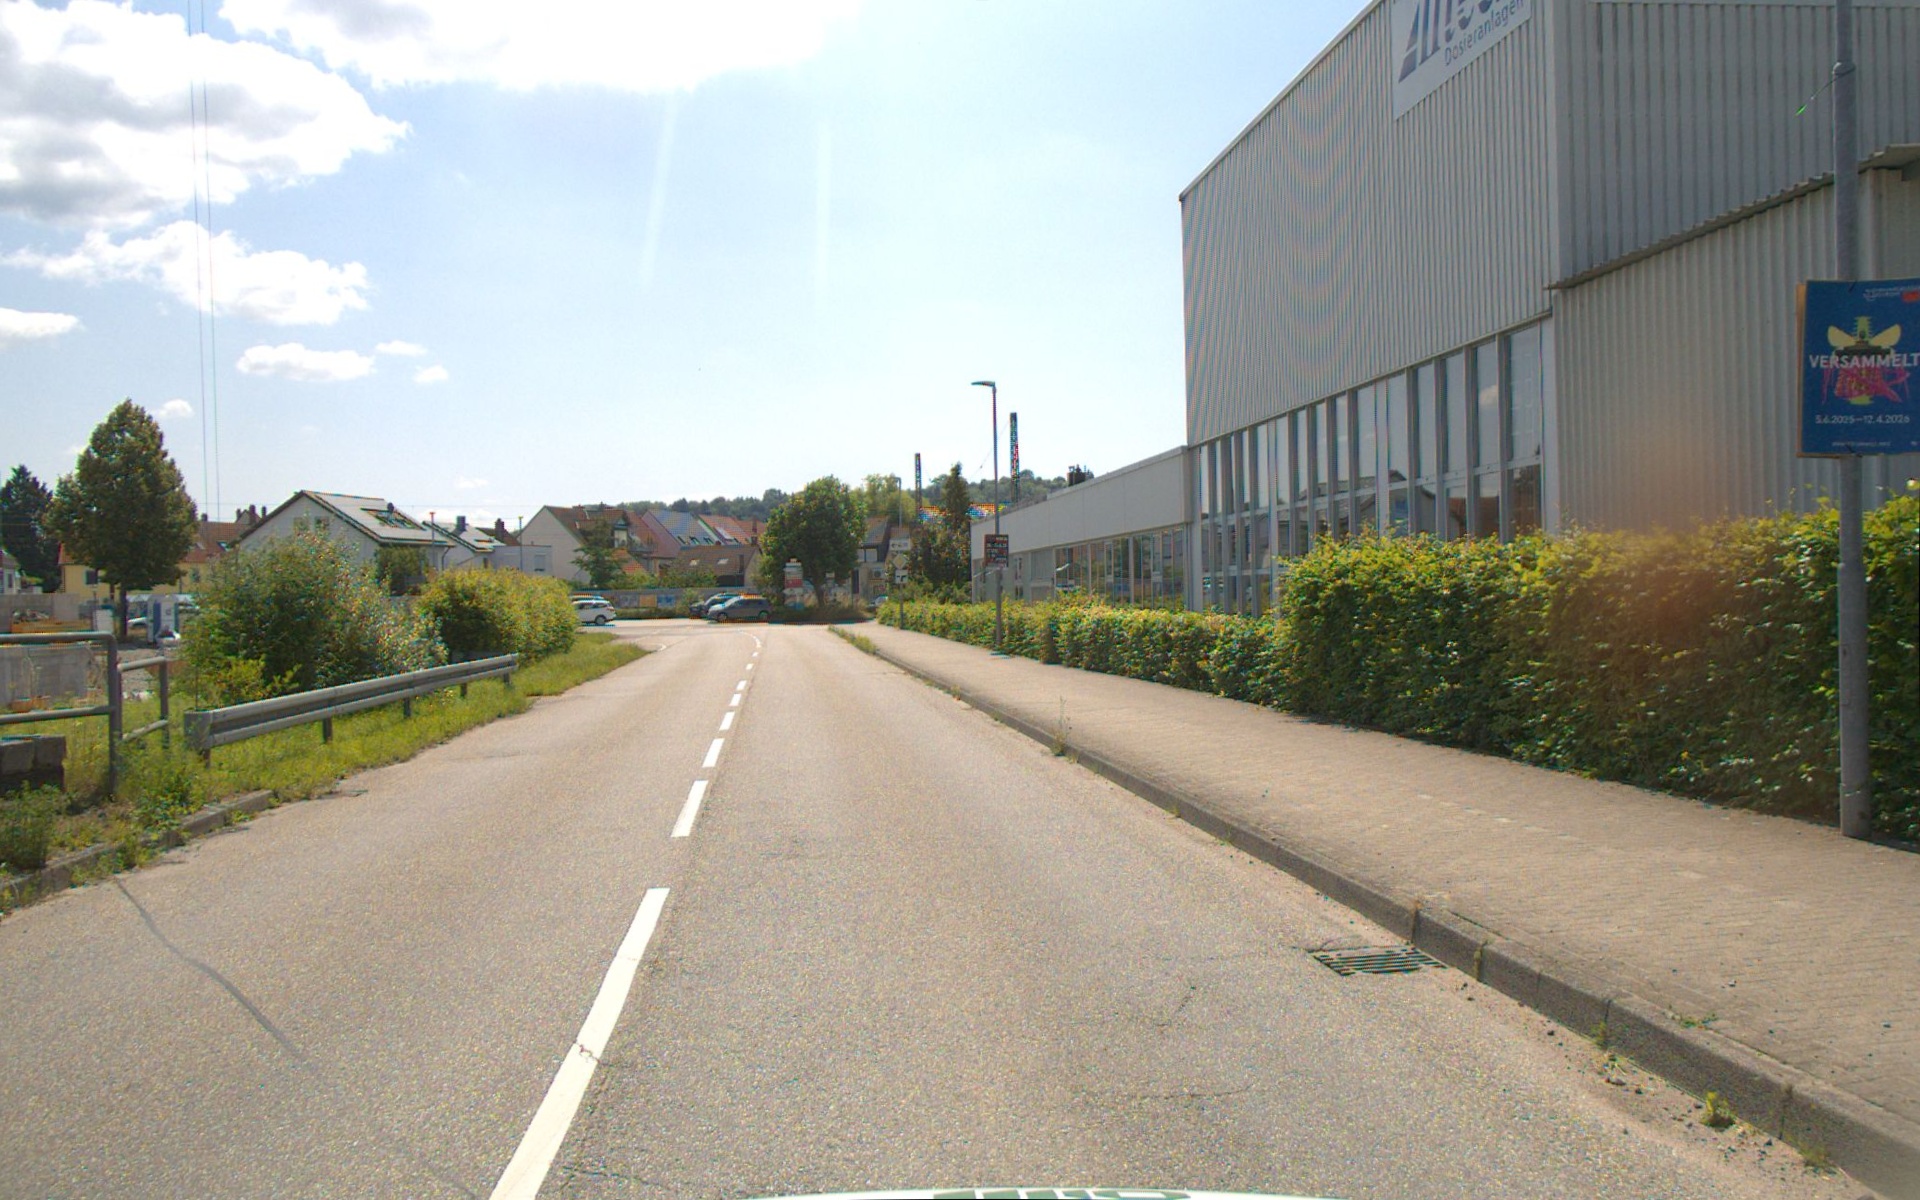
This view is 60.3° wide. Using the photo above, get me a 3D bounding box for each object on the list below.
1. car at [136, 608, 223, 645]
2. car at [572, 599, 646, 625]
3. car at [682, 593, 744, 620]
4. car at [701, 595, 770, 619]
[{"bbox_3d":[-45.005,1.514,95.381,4.356,2.049,1.978,-1,0,-32],"label":"car"},{"bbox_3d":[-21.458,0.757,101.101,4.218,1.503,1.817,1,-1,-19],"label":"car"},{"bbox_3d":[-16.565,0.435,110.929,3.923,1.760,1.762,1,-1,-17],"label":"car"},{"bbox_3d":[-14.052,0.452,103.558,4.119,1.488,1.657,0,-1,-16],"label":"car"}]
